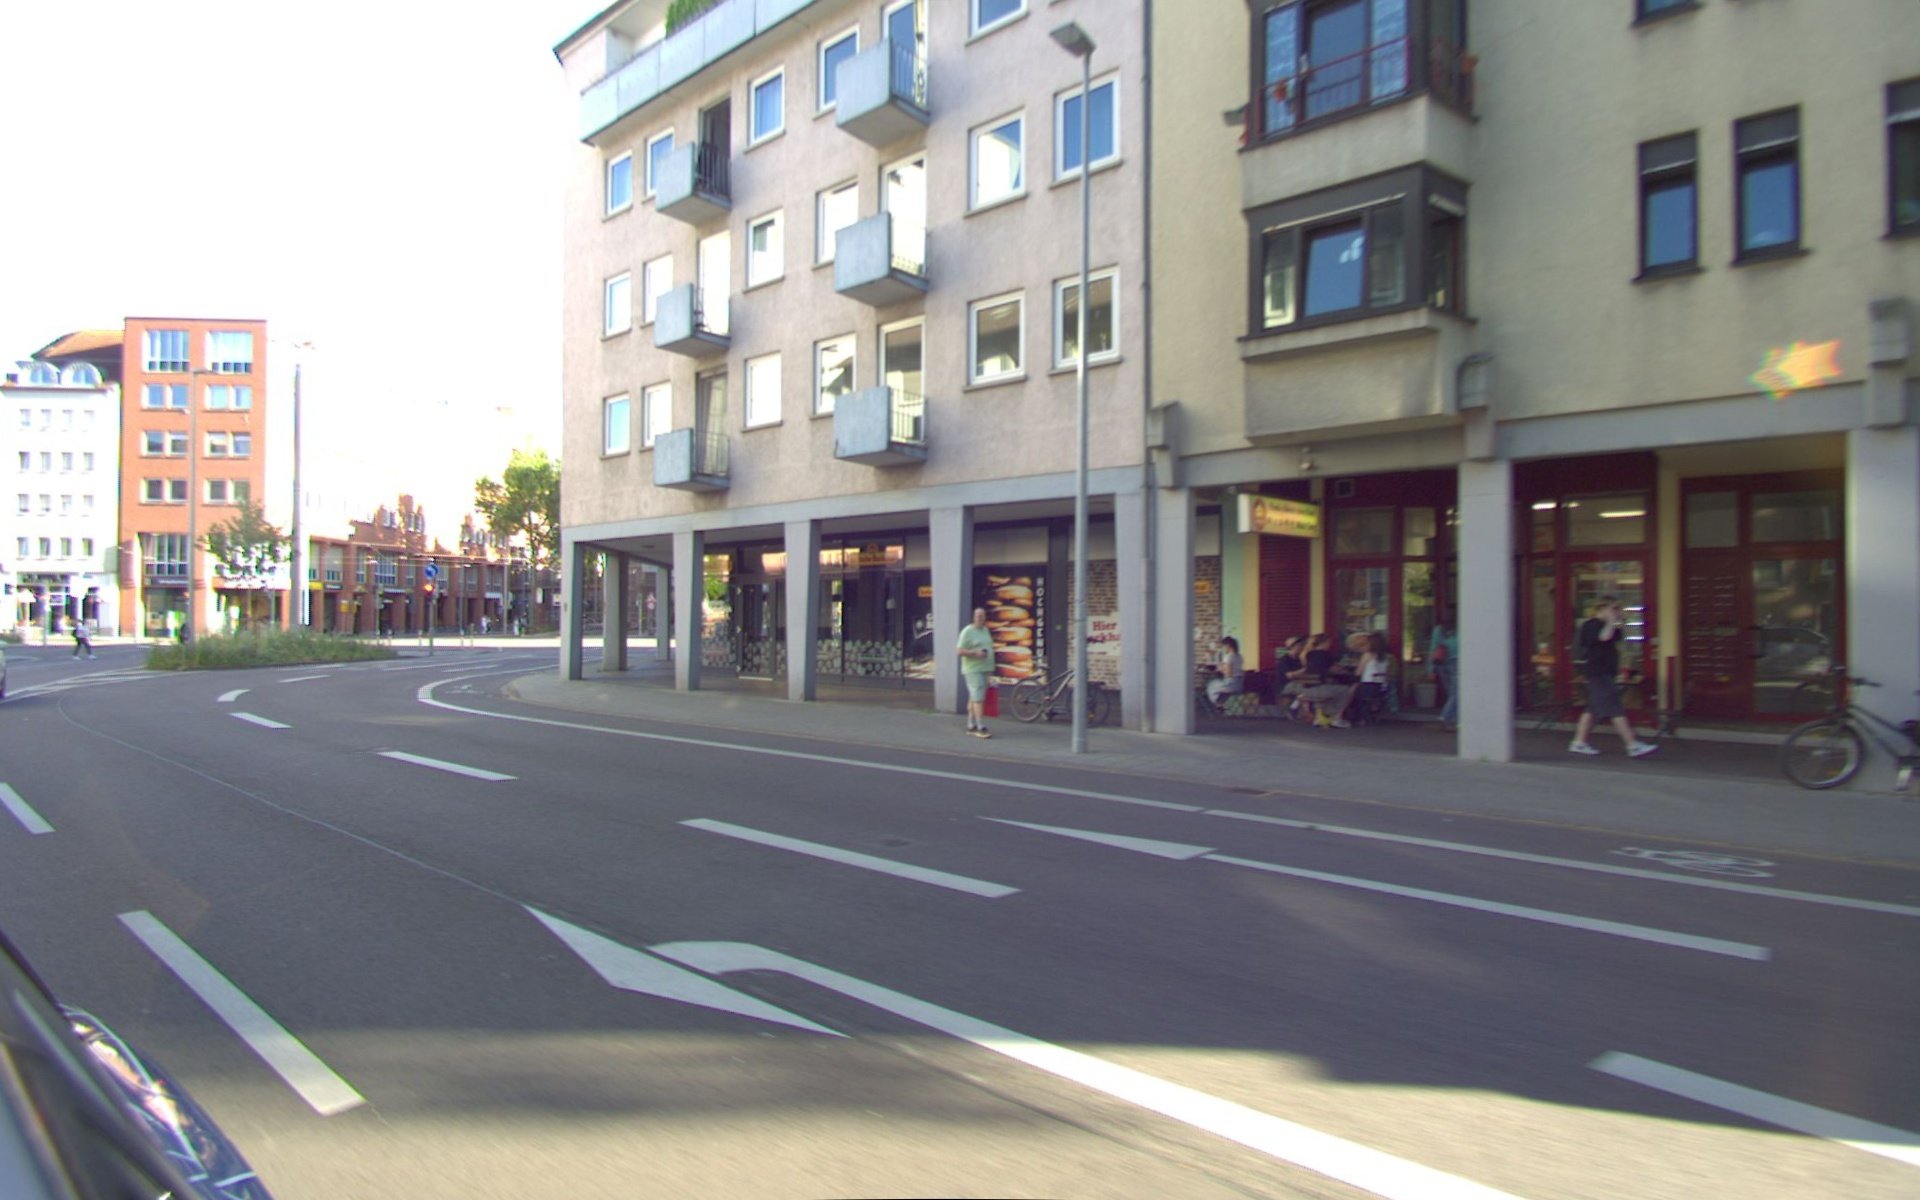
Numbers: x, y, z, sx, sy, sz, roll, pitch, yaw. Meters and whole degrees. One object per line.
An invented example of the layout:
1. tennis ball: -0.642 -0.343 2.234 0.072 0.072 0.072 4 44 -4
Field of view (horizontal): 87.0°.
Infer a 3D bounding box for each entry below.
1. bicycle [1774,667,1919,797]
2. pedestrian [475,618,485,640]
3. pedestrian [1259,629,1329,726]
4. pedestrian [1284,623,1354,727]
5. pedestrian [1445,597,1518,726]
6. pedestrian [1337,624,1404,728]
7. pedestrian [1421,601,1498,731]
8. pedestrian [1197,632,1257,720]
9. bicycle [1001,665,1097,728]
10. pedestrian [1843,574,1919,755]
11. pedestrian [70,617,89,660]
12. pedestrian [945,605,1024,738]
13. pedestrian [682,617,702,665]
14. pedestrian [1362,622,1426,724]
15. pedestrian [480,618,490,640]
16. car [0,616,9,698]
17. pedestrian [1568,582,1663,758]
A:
1. bicycle: 8.314 1.145 8.714 2.010 1.053 0.444 -1 -2 41
2. pedestrian: -39.667 2.418 83.657 0.546 1.760 0.716 -1 0 -6
3. pedestrian: 4.909 1.121 14.882 0.701 1.346 0.740 0 0 -44
4. pedestrian: 5.002 1.025 14.108 0.605 1.378 0.712 0 0 -43
5. pedestrian: 7.324 0.842 14.233 0.605 1.755 0.712 0 0 -8
6. pedestrian: 5.663 1.023 13.960 0.700 1.363 0.615 0 0 -44
7. pedestrian: 6.628 0.857 13.462 0.605 1.678 0.712 0 0 -8
8. pedestrian: 4.098 1.150 15.559 0.560 1.277 0.690 0 0 -38
9. bicycle: 1.297 1.403 14.974 1.523 0.831 0.354 -1 -1 43
10. pedestrian: 10.117 0.667 10.883 0.604 1.883 0.798 -1 0 -32
11. pedestrian: -36.577 1.594 42.057 0.585 1.760 0.503 -1 0 -41
12. pedestrian: 0.335 0.951 13.911 0.723 1.753 0.823 -1 0 41
13. pedestrian: -10.133 1.530 38.293 0.603 1.786 0.530 -1 0 -3
14. pedestrian: 6.187 1.023 14.433 0.700 1.388 0.615 0 0 -44
15. pedestrian: -39.615 2.419 84.441 0.546 1.760 0.716 -1 0 -6
16. car: -17.870 1.036 17.575 1.657 1.510 3.692 1 -1 -39
17. pedestrian: 7.388 0.742 11.410 0.805 1.883 0.814 0 0 40
